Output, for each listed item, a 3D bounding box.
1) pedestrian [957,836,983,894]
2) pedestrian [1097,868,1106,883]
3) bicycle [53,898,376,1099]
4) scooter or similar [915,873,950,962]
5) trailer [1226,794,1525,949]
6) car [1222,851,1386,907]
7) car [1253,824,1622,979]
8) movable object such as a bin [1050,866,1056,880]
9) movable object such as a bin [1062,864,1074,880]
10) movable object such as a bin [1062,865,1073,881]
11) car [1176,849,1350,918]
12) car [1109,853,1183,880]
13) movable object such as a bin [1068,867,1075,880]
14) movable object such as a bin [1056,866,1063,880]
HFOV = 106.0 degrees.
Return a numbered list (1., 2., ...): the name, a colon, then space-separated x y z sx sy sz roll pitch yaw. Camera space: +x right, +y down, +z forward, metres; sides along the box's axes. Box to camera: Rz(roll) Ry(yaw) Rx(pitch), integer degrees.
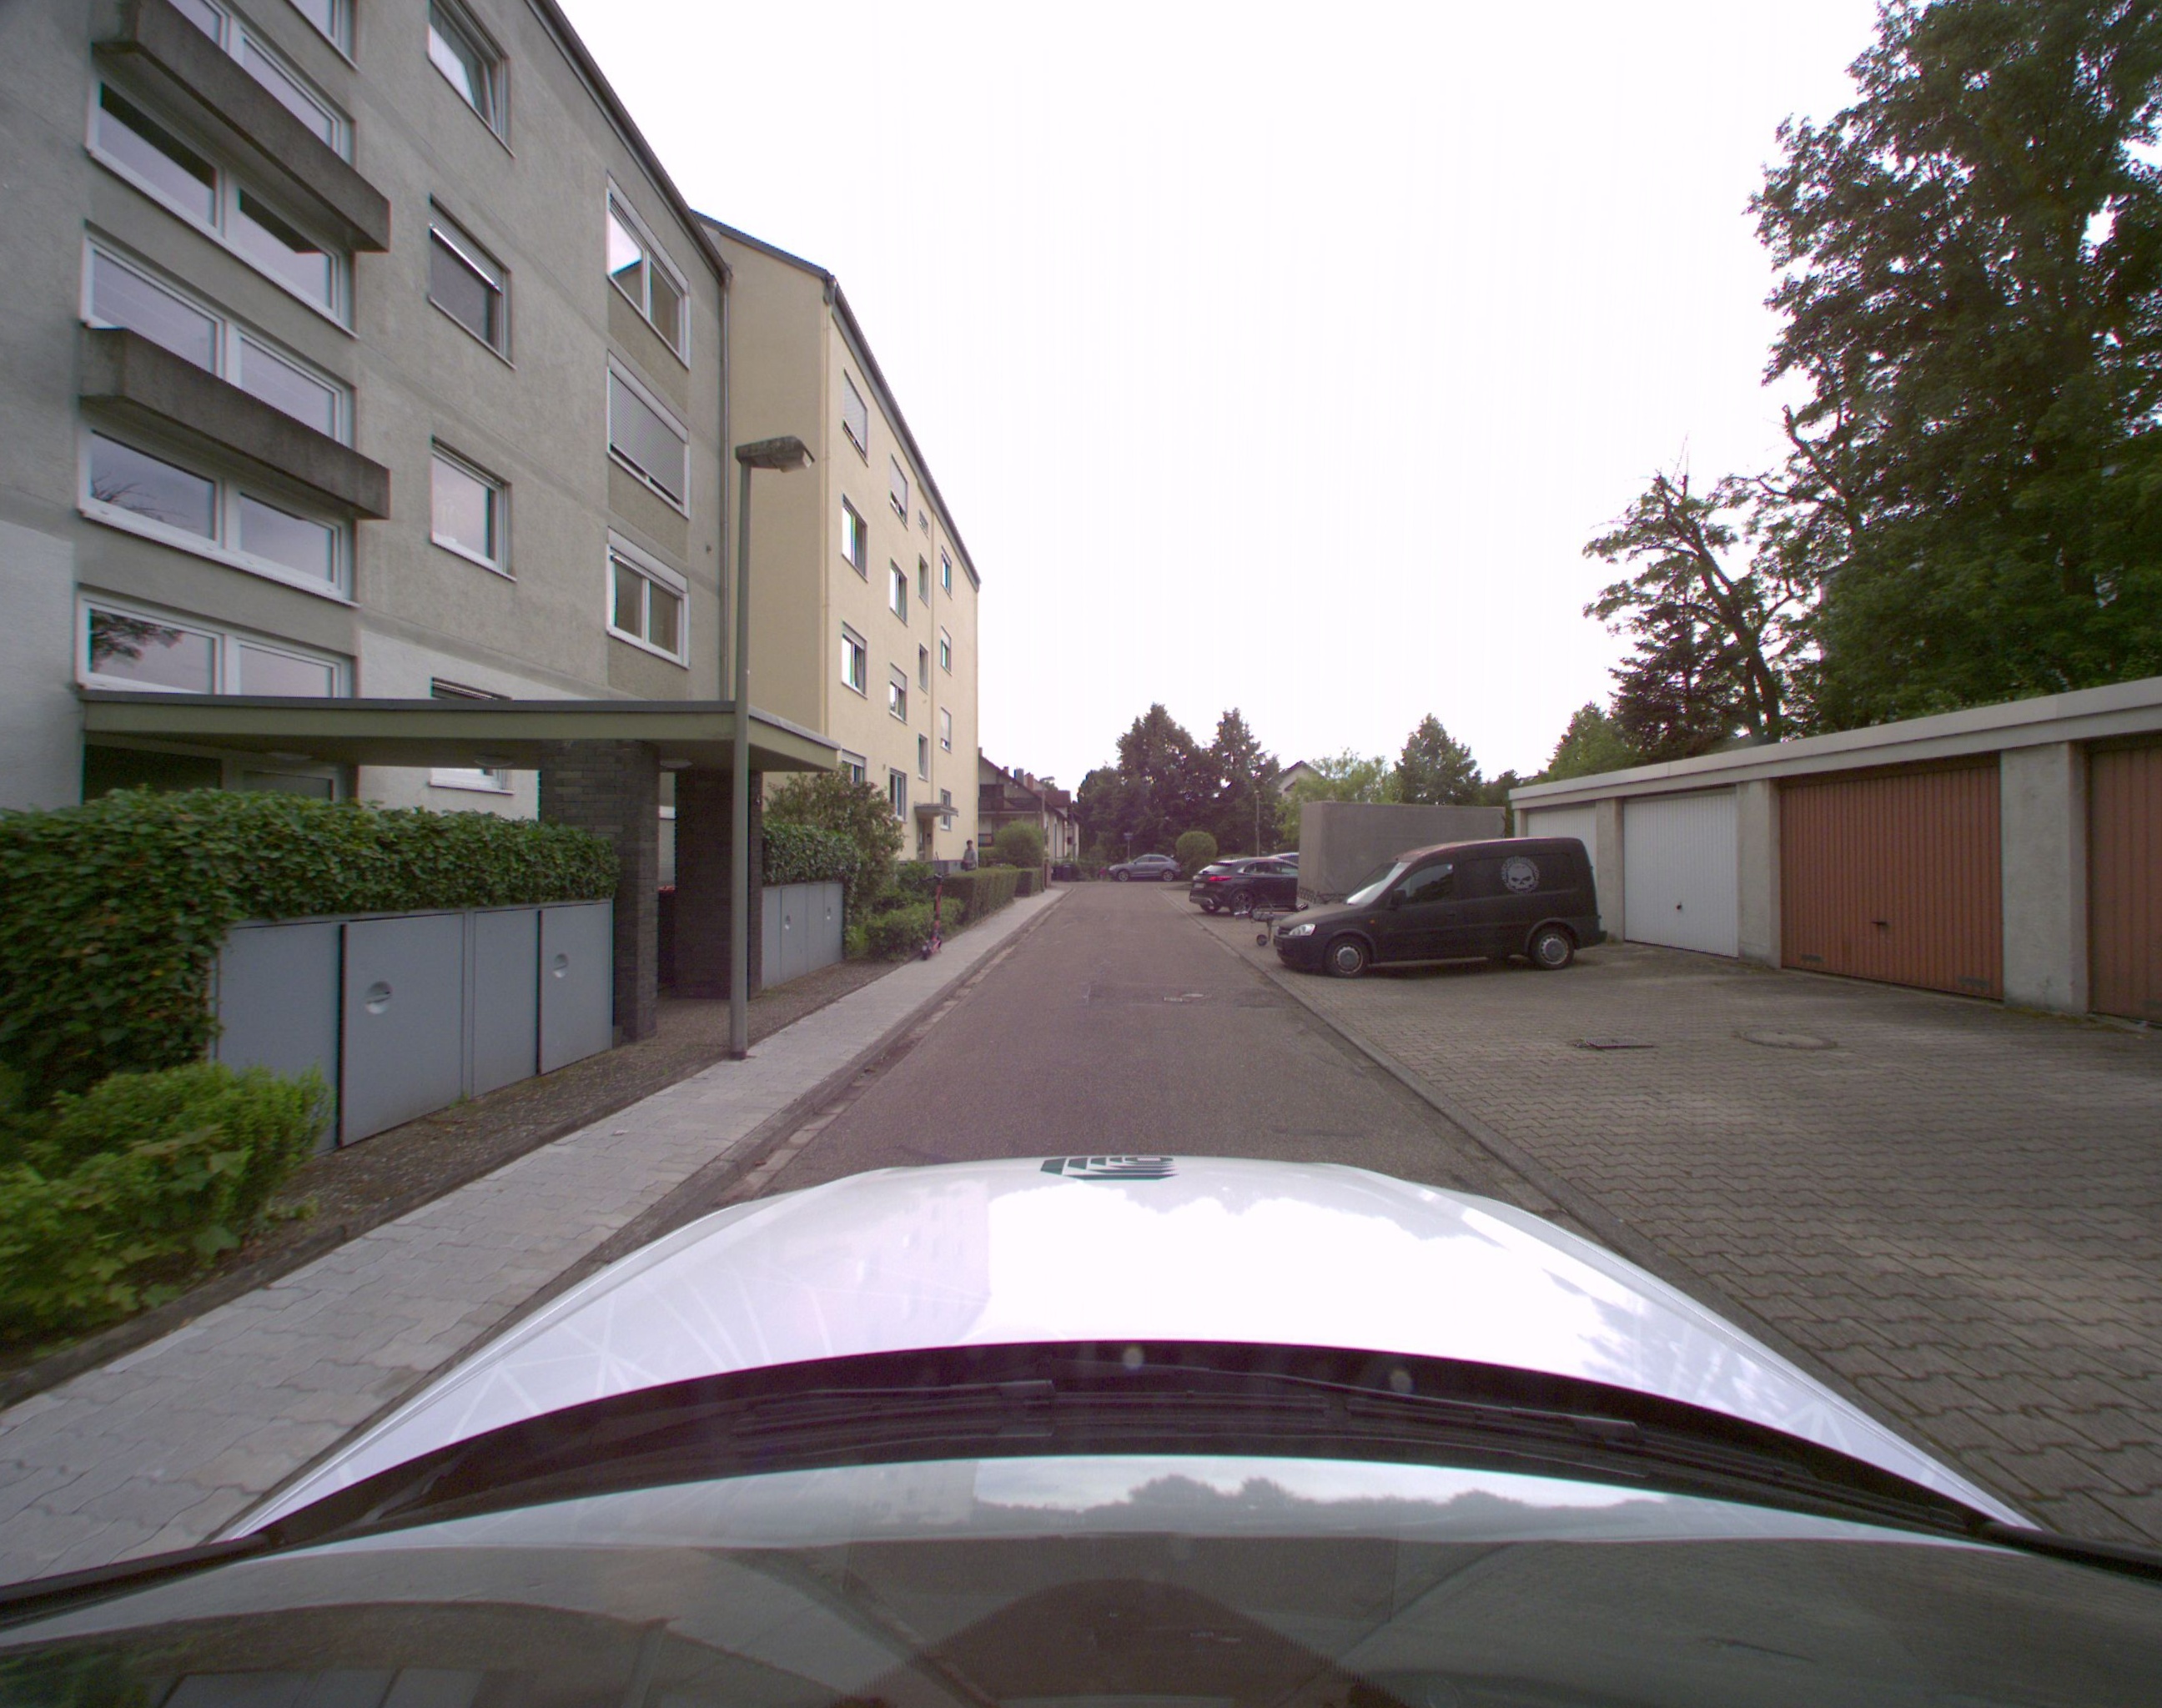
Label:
1. pedestrian: -3.434 0.339 25.278 0.676 1.749 0.756 1 -1 0
2. pedestrian: 2.100 2.161 83.072 0.812 1.517 0.438 -1 -1 -1
3. bicycle: -5.557 0.856 5.366 0.372 1.034 1.548 2 0 3
4. scooter or similar: -2.178 0.907 12.002 0.272 1.211 1.165 -1 0 1
5. trailer: 4.972 0.290 14.299 4.591 2.525 1.944 0 0 2
6. car: 6.678 0.731 24.806 4.517 1.588 1.990 -1 0 3
7. car: 4.793 0.605 11.484 4.295 1.802 2.001 -3 0 1
8. movable object such as a bin: -1.778 1.208 51.480 0.384 0.901 0.379 1 -1 -1
9. movable object such as a bin: -0.802 1.133 50.614 0.731 0.953 0.584 1 0 1
10. movable object such as a bin: -0.843 1.143 49.835 0.636 0.953 0.723 1 0 1
11. car: 4.784 0.731 21.629 3.993 1.552 1.990 -2 0 -14
12. car: 3.772 0.728 47.647 4.221 1.531 1.747 0 -2 1
13. movable object such as a bin: -0.609 1.253 51.843 0.458 0.797 0.379 1 -1 -1
14. movable object such as a bin: -1.357 1.198 51.483 0.384 0.890 0.379 1 -1 -1
